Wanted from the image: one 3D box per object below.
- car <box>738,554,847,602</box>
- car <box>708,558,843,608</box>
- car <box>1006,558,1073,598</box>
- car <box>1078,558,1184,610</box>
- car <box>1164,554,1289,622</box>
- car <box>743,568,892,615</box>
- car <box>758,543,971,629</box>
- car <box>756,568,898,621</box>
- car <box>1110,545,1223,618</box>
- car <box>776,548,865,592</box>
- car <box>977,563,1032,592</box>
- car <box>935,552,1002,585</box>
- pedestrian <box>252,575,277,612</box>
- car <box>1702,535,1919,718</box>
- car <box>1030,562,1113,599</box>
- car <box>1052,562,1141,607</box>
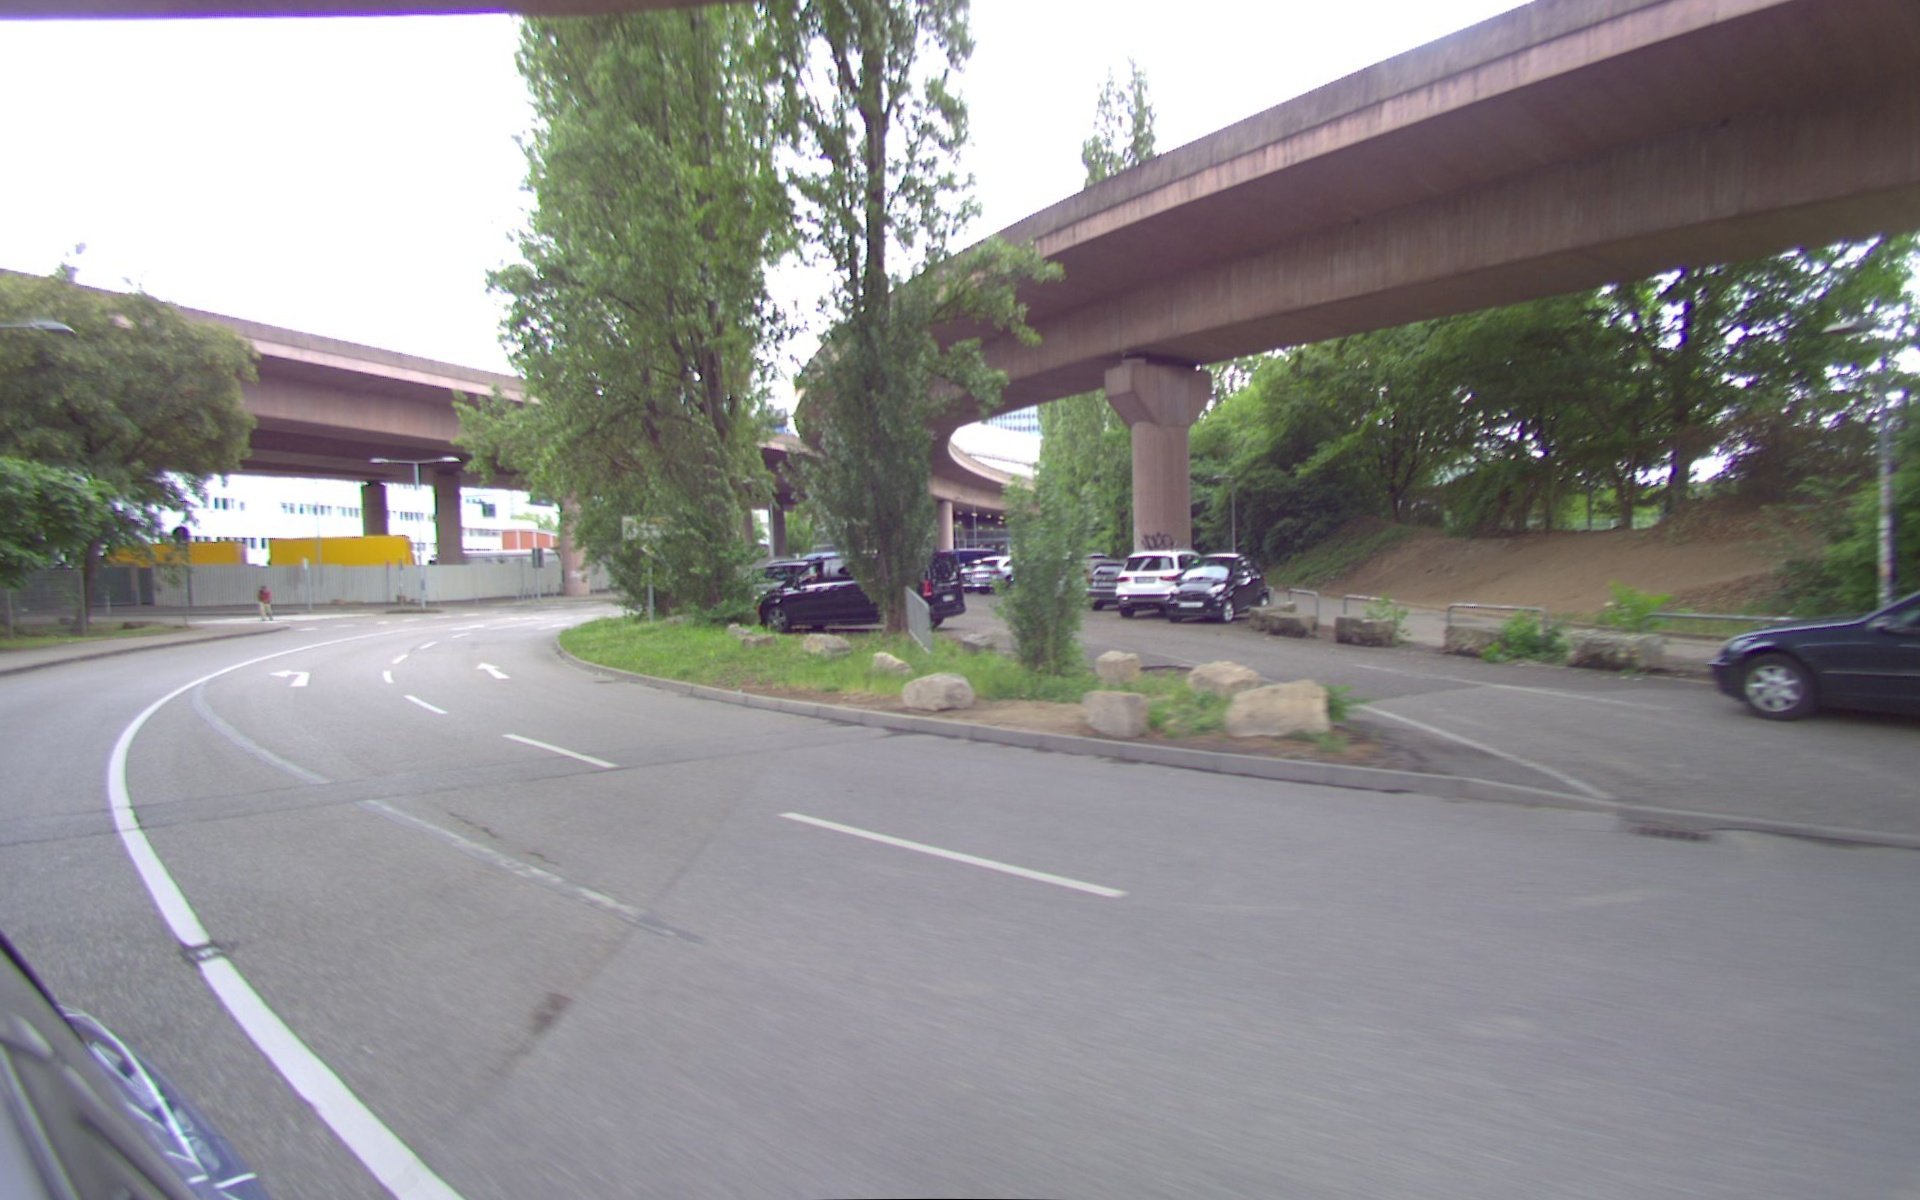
[{"bbox_3d":[-7.440,-0.986,44.879,4.706,2.029,1.836,2,1,31],"label":"car"},{"bbox_3d":[-6.500,-0.615,35.551,4.655,1.686,1.681,1,2,28],"label":"car"},{"bbox_3d":[3.112,-0.880,39.135,1.316,1.498,2.944,0,2,33],"label":"car"},{"bbox_3d":[5.182,-0.516,30.319,1.738,1.475,3.826,0,2,33],"label":"car"},{"bbox_3d":[6.387,-0.330,24.003,1.536,1.475,3.821,1,2,37],"label":"car"},{"bbox_3d":[-4.467,-0.287,31.561,4.497,1.374,1.680,0,2,29],"label":"car"},{"bbox_3d":[-2.359,-0.352,24.600,4.949,1.931,1.840,0,2,28],"label":"car"},{"bbox_3d":[-3.710,-0.166,28.118,3.687,1.390,1.551,0,2,27],"label":"car"},{"bbox_3d":[5.445,-0.514,26.339,1.729,1.720,4.023,0,2,30],"label":"car"},{"bbox_3d":[-8.766,-1.903,63.466,5.670,2.600,1.809,2,1,33],"label":"car"},{"bbox_3d":[1.995,-0.997,44.958,1.390,1.244,2.951,0,2,26],"label":"car"},{"bbox_3d":[0.482,-1.782,57.143,3.485,1.812,1.646,-2,2,-36],"label":"car"},{"bbox_3d":[-32.686,-0.310,47.557,0.741,1.693,0.857,-1,1,-18],"label":"pedestrian"},{"bbox_3d":[8.889,0.189,7.844,1.797,1.441,4.790,-4,2,-22],"label":"car"},{"bbox_3d":[4.001,-0.708,36.121,2.932,1.244,1.321,-2,2,-42],"label":"car"},{"bbox_3d":[4.567,-0.550,33.559,1.374,1.399,3.380,1,2,39],"label":"car"}]
